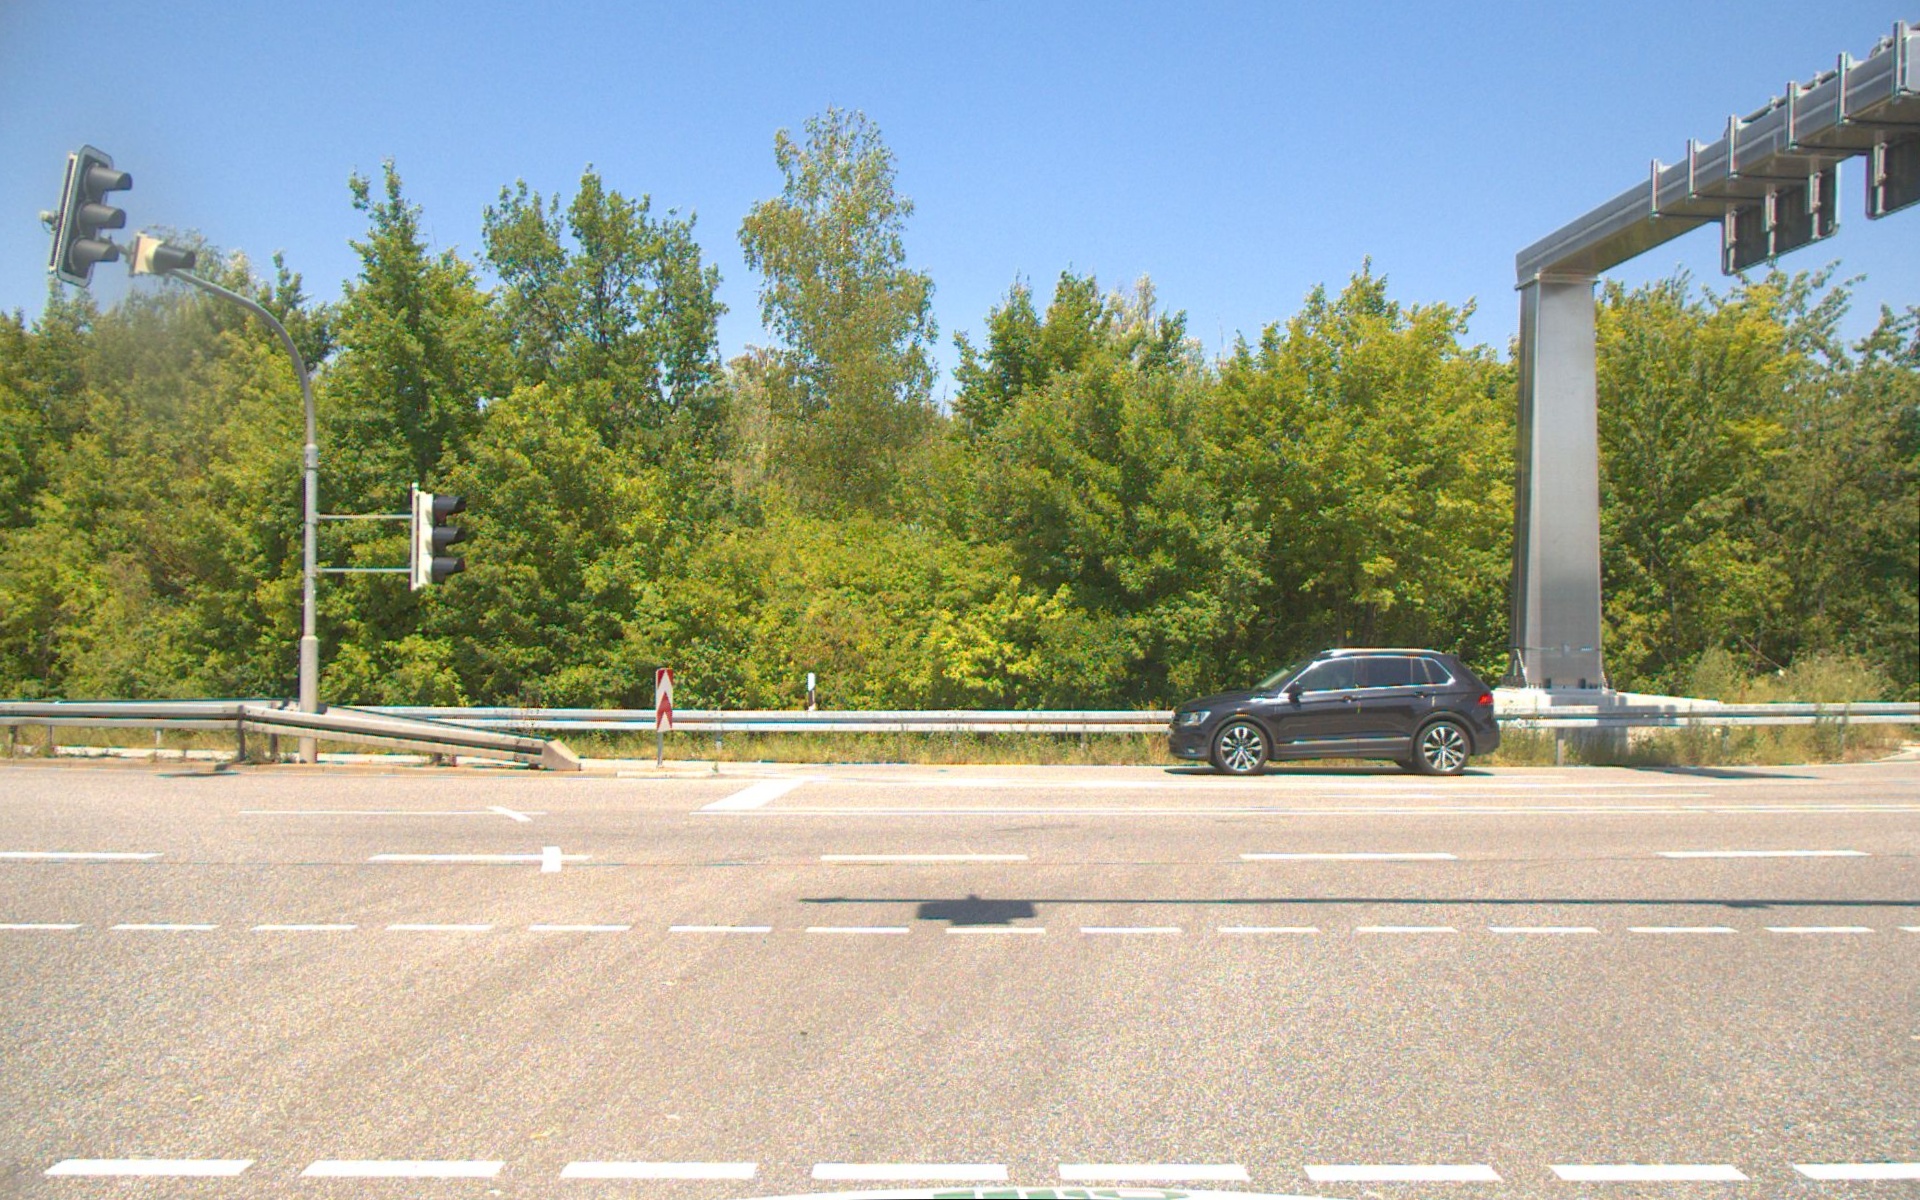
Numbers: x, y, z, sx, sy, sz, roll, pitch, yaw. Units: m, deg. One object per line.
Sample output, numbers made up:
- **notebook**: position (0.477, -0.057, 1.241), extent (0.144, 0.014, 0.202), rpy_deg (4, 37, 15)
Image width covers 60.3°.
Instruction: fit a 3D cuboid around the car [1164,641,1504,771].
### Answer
- **car**: position (4.957, 1.429, 22.391), extent (4.174, 1.661, 1.904), rpy_deg (0, -4, 1)
